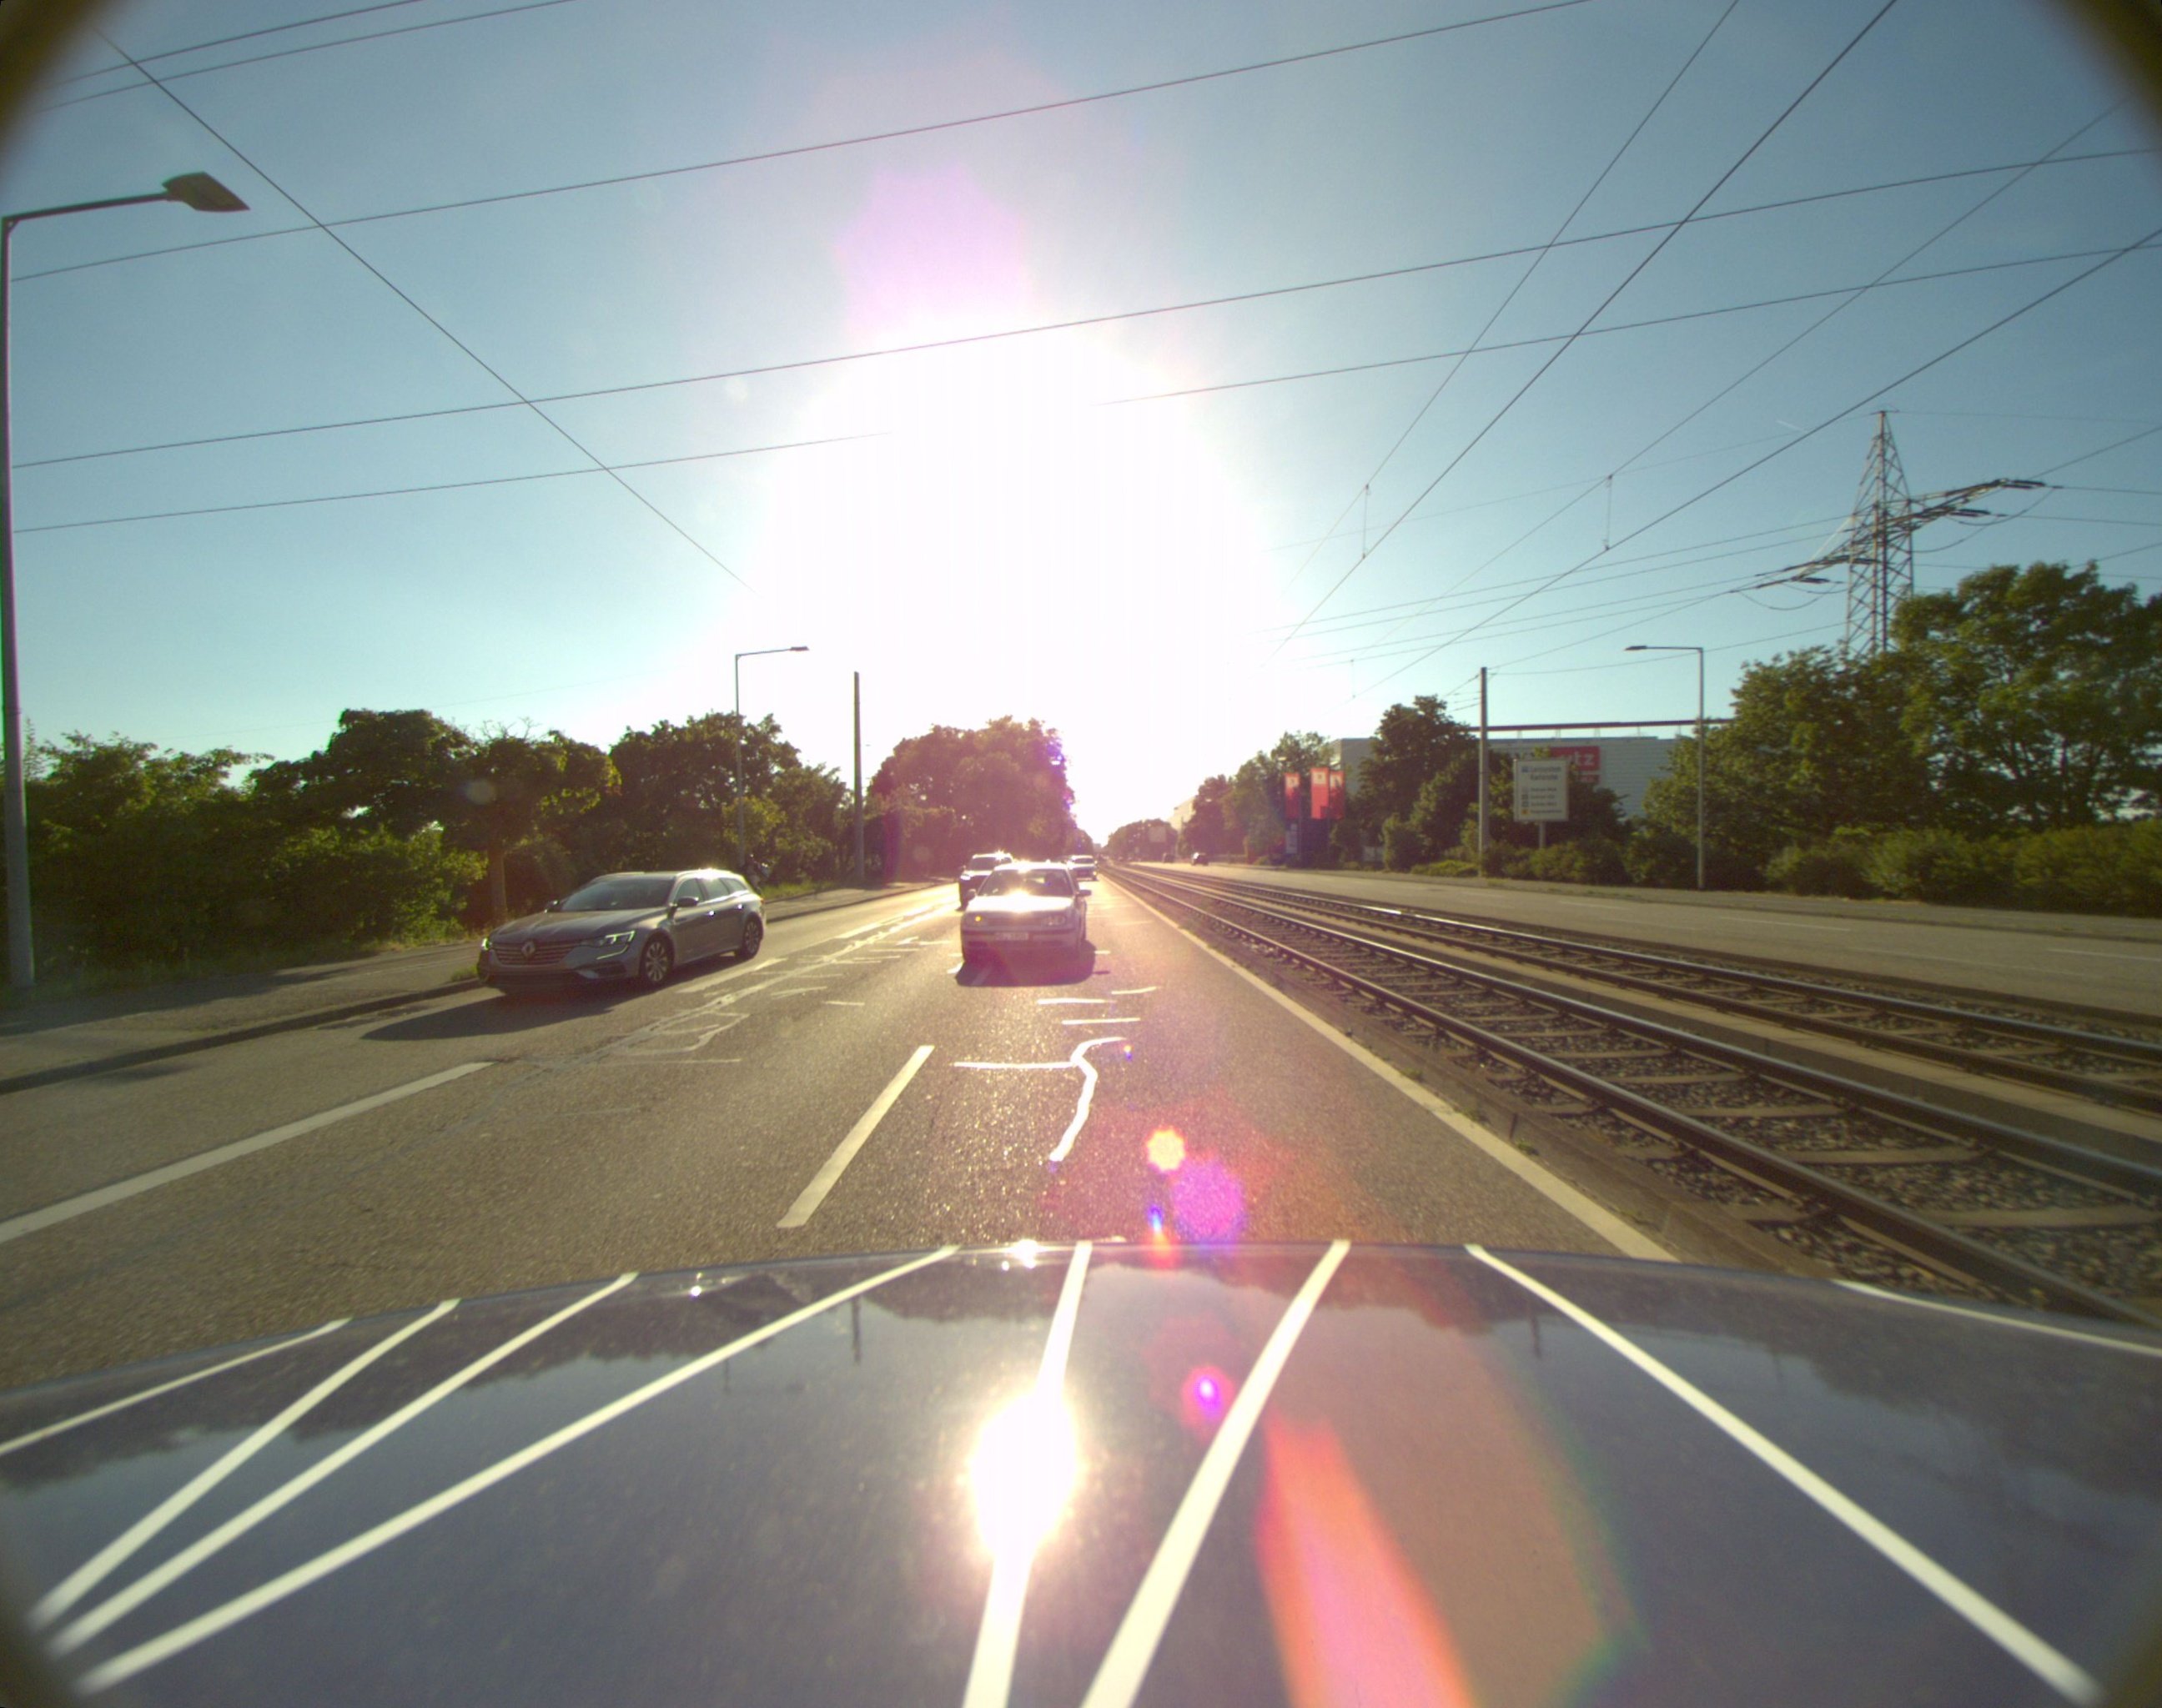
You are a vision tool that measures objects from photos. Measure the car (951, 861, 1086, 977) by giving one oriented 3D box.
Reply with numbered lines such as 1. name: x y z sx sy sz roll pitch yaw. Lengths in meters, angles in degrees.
1. car: -0.834 0.912 12.374 1.695 1.437 4.001 -2 1 2

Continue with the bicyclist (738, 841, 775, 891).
1. bicyclist: -9.951 0.354 23.339 0.628 1.463 1.060 2 1 0

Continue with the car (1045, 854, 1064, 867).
1. car: -3.054 0.730 87.796 1.881 1.449 4.416 -2 1 1

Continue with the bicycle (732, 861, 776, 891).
1. bicycle: -9.982 0.665 23.257 0.628 0.829 1.634 2 1 0

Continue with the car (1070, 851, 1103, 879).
1. car: 0.364 0.649 47.122 1.881 1.591 4.416 -2 1 1

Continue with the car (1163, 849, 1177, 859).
1. car: 16.213 -0.088 138.331 1.998 1.785 4.349 0 1 0

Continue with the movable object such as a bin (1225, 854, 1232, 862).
1. movable object such as a bin: 19.896 0.521 102.526 0.614 0.960 1.083 -3 1 0

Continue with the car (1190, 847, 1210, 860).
1. car: 15.905 -0.097 101.757 1.999 1.616 4.682 0 1 0

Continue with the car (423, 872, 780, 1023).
1. car: -6.154 1.076 10.626 1.881 1.435 4.659 -2 1 2

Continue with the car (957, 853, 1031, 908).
1. car: -2.852 0.808 25.748 1.881 1.591 4.416 -2 1 1
